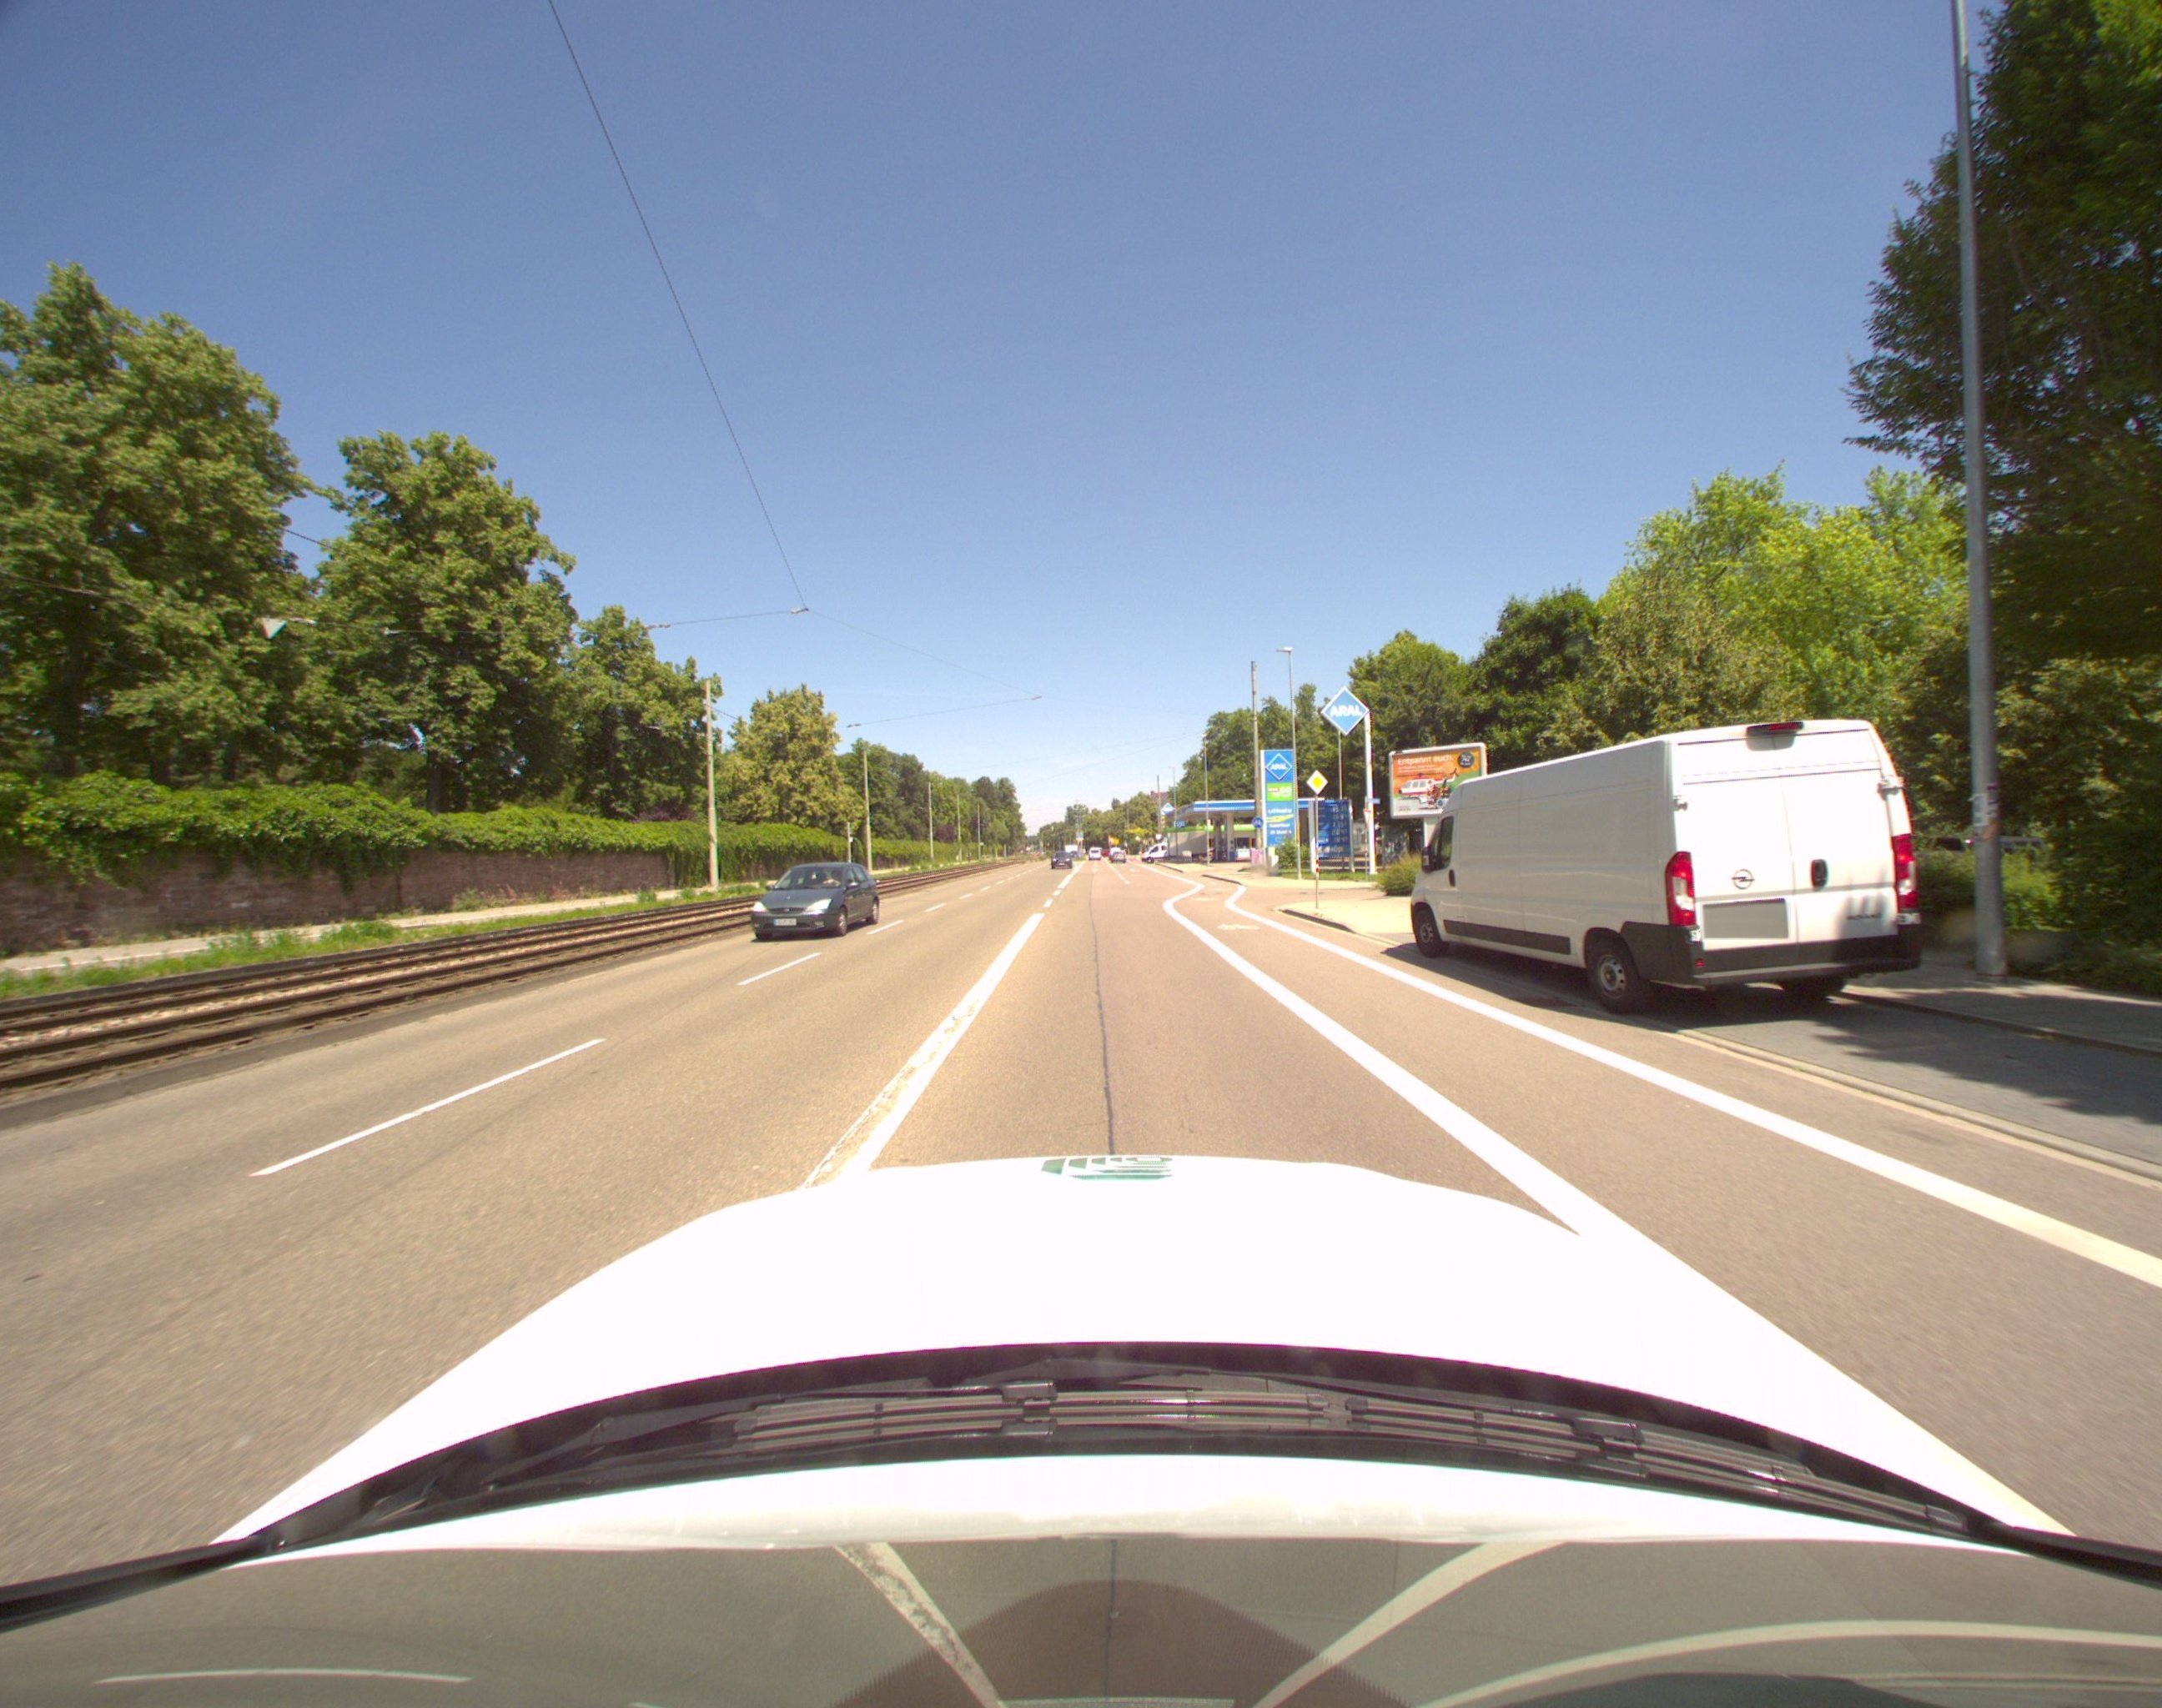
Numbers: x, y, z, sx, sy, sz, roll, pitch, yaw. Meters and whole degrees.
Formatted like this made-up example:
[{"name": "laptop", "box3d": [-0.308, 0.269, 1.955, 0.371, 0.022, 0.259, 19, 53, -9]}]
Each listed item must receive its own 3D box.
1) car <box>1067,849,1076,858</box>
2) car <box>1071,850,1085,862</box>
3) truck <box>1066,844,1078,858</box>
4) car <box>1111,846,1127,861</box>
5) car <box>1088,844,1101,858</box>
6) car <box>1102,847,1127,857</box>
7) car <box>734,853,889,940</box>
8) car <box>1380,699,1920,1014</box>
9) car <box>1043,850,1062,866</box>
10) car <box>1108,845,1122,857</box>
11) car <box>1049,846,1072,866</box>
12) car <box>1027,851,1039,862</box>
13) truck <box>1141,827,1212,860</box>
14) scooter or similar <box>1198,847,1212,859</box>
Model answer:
[{"name": "car", "box3d": [-1.838, -0.095, 160.044, 1.750, 1.630, 4.323, -4, 0, 0]}, {"name": "car", "box3d": [-0.457, 0.226, 117.701, 1.749, 1.630, 4.326, -4, 0, 2]}, {"name": "truck", "box3d": [-1.837, -0.690, 170.062, 2.526, 2.679, 11.814, -1, 0, 0]}, {"name": "car", "box3d": [4.686, -0.061, 100.781, 1.750, 1.630, 4.324, -4, 0, 0]}, {"name": "car", "box3d": [1.960, -0.445, 119.866, 1.750, 1.875, 4.324, -4, 0, 0]}, {"name": "car", "box3d": [6.286, -0.382, 151.630, 4.267, 1.659, 1.773, -3, 0, 34]}, {"name": "car", "box3d": [-5.550, 0.790, 17.366, 1.750, 1.509, 4.324, -4, 0, 0]}, {"name": "car", "box3d": [5.785, 0.003, 9.714, 1.995, 2.457, 6.107, -4, 0, -1]}, {"name": "car", "box3d": [-3.193, 0.396, 89.859, 1.753, 1.630, 4.316, -4, 0, -5]}, {"name": "car", "box3d": [5.055, -0.505, 120.919, 1.750, 1.630, 4.324, -4, 0, 0]}, {"name": "car", "box3d": [-1.727, 0.173, 70.636, 1.750, 1.630, 4.324, -4, 0, 0]}, {"name": "car", "box3d": [-7.753, 0.456, 132.657, 1.753, 1.630, 4.316, -4, 0, -5]}, {"name": "truck", "box3d": [11.053, -1.187, 94.041, 7.916, 3.602, 2.671, -1, 0, 11]}, {"name": "scooter or similar", "box3d": [14.890, -0.144, 97.485, 1.548, 1.328, 0.536, -1, 0, -1]}]
